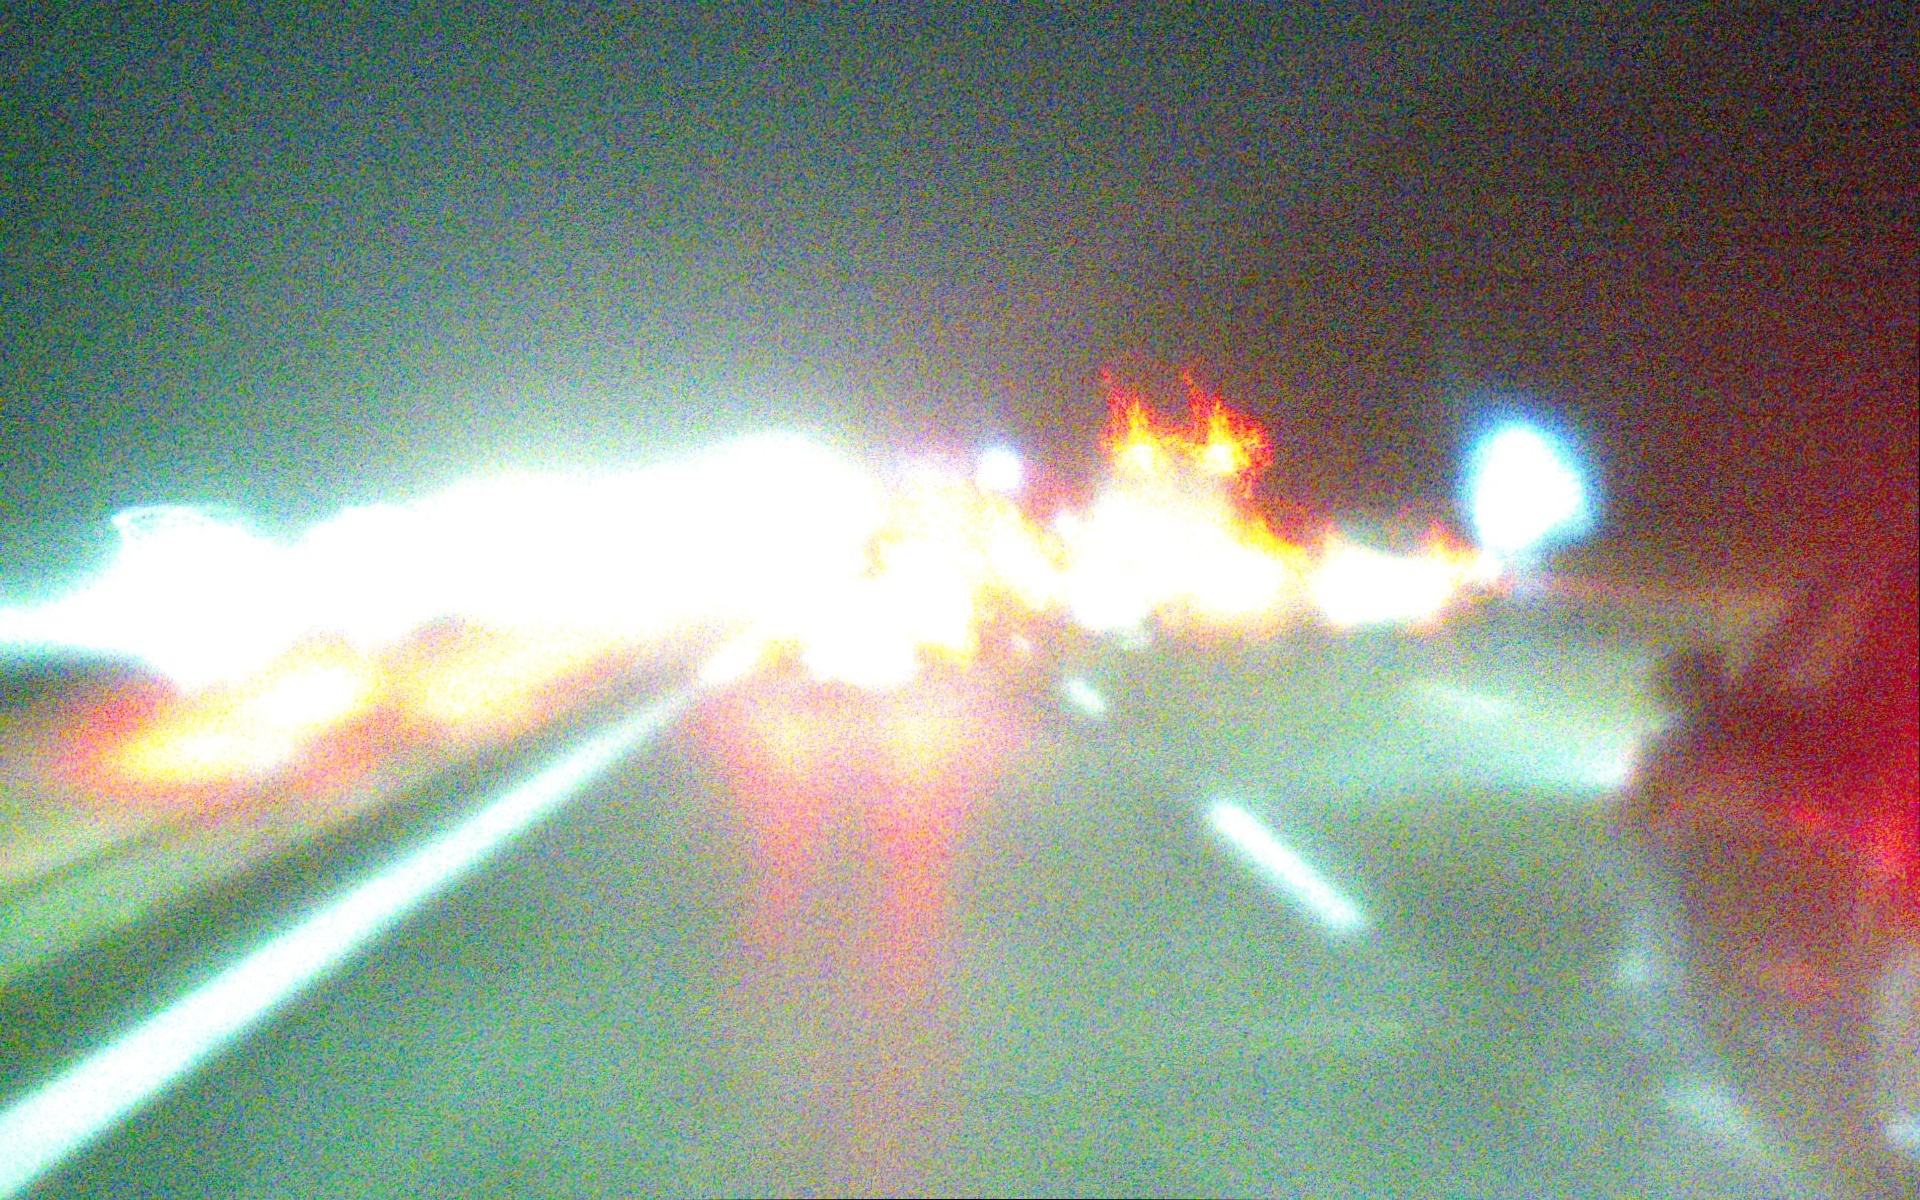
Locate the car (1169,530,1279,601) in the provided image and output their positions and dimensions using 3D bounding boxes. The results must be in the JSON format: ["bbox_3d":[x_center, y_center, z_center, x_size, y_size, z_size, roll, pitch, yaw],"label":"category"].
[{"bbox_3d":[5.827,-0.793,76.409,1.894,1.481,4.963,1,2,-2],"label":"car"}]

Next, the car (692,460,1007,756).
[{"bbox_3d":[-1.099,-0.004,33.484,2.709,2.525,5.832,-2,2,-2],"label":"car"}]

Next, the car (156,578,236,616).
[{"bbox_3d":[-23.054,-0.104,103.888,1.638,1.099,4.047,1,1,-2],"label":"car"}]

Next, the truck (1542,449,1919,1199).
[{"bbox_3d":[2.722,0.551,8.000,1.843,1.690,4.855,1,1,-1],"label":"truck"}]

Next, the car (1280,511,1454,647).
[{"bbox_3d":[6.373,-0.388,54.403,2.046,1.967,5.407,-2,2,0],"label":"car"}]

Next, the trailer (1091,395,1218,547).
[{"bbox_3d":[5.611,-3.675,101.051,2.803,4.198,12.098,0,1,-1],"label":"trailer"}]

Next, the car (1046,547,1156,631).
[{"bbox_3d":[2.408,-0.214,59.453,1.612,1.407,3.792,0,1,-2],"label":"car"}]

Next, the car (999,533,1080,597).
[{"bbox_3d":[2.011,-0.923,87.769,1.884,1.583,4.000,0,1,-1],"label":"car"}]
